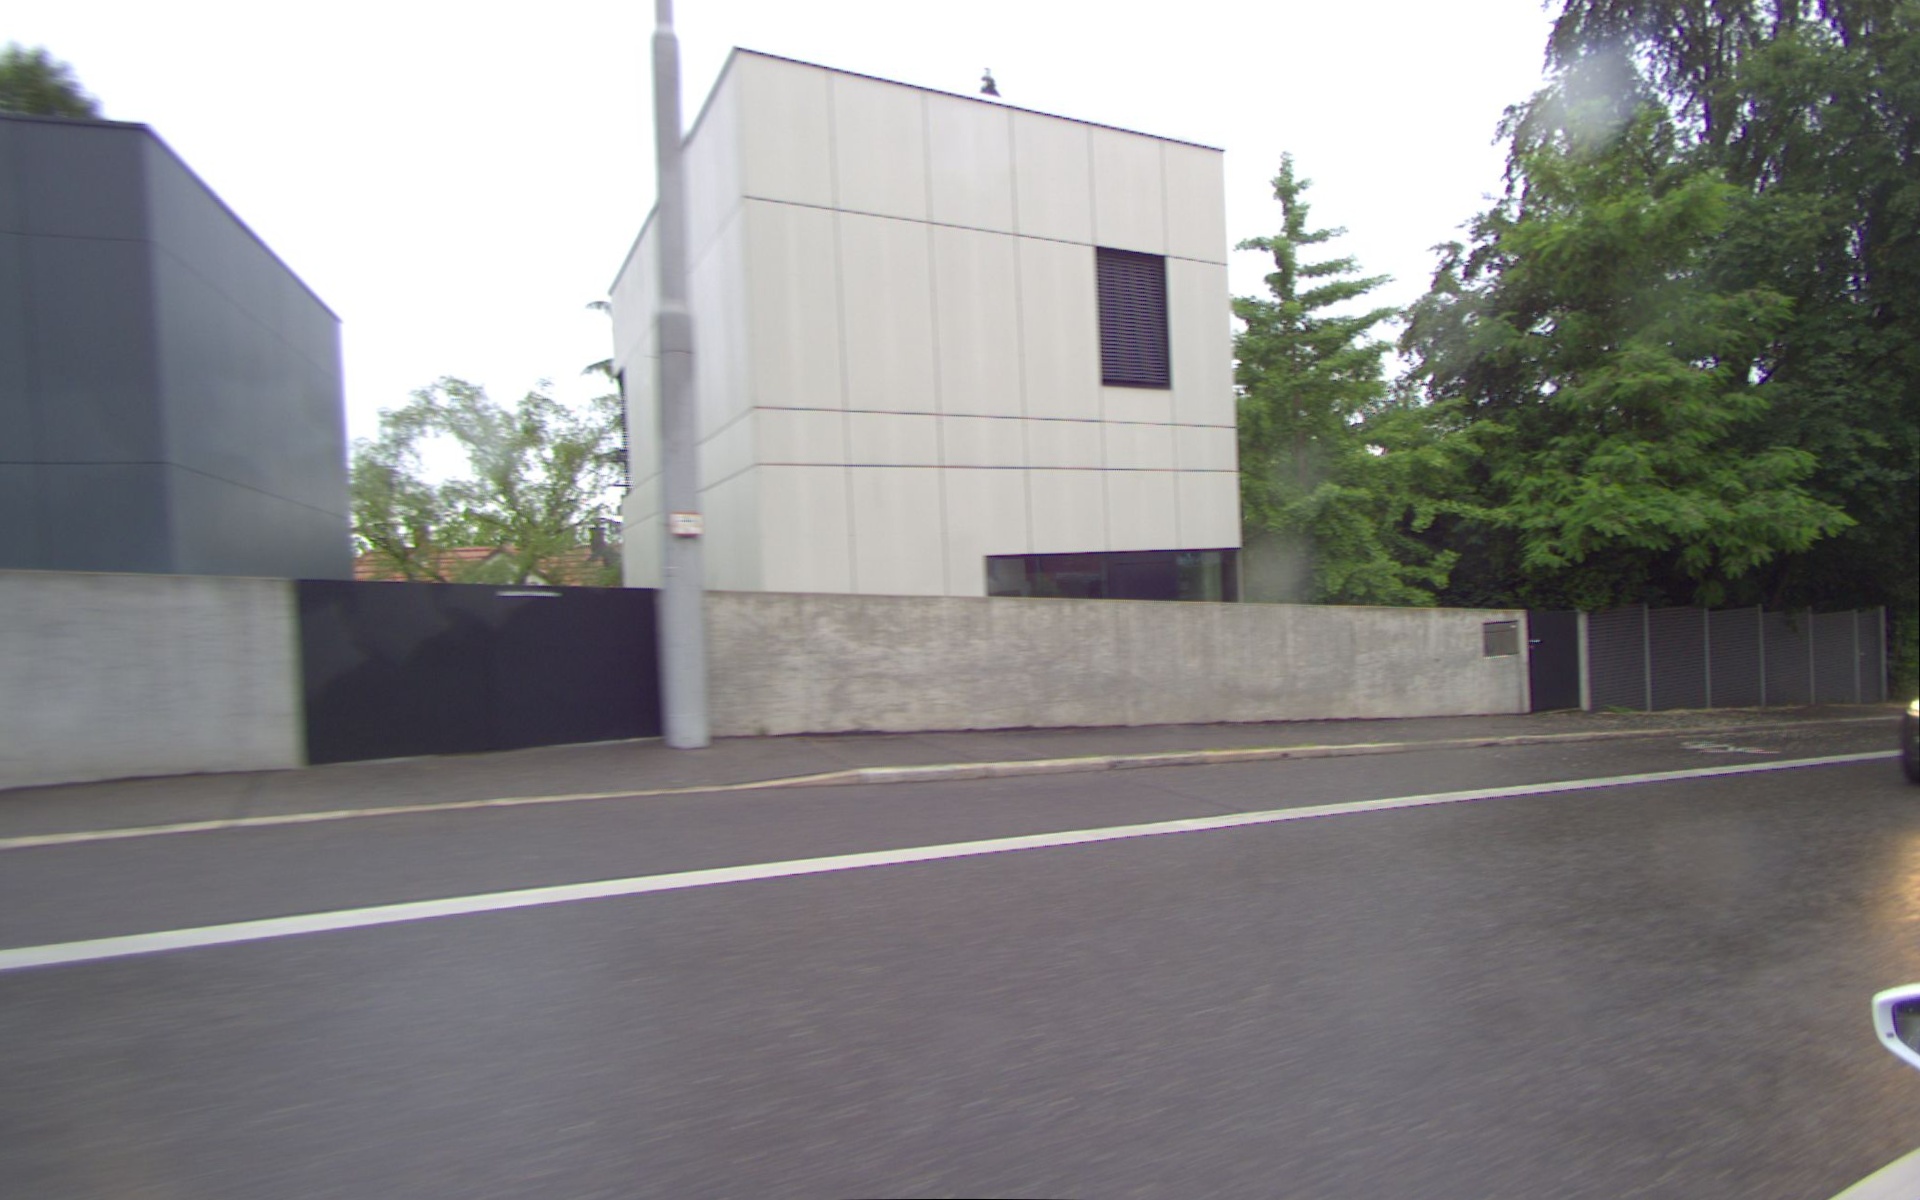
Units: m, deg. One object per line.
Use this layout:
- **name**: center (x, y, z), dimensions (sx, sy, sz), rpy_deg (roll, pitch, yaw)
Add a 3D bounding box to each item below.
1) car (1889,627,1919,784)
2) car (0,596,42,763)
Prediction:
- **car**: center (10.791, 1.009, 9.759), dimensions (3.760, 1.439, 1.640), rpy_deg (1, 1, -32)
- **car**: center (-8.688, 0.589, 6.351), dimensions (1.859, 1.318, 4.003), rpy_deg (0, -1, 6)
